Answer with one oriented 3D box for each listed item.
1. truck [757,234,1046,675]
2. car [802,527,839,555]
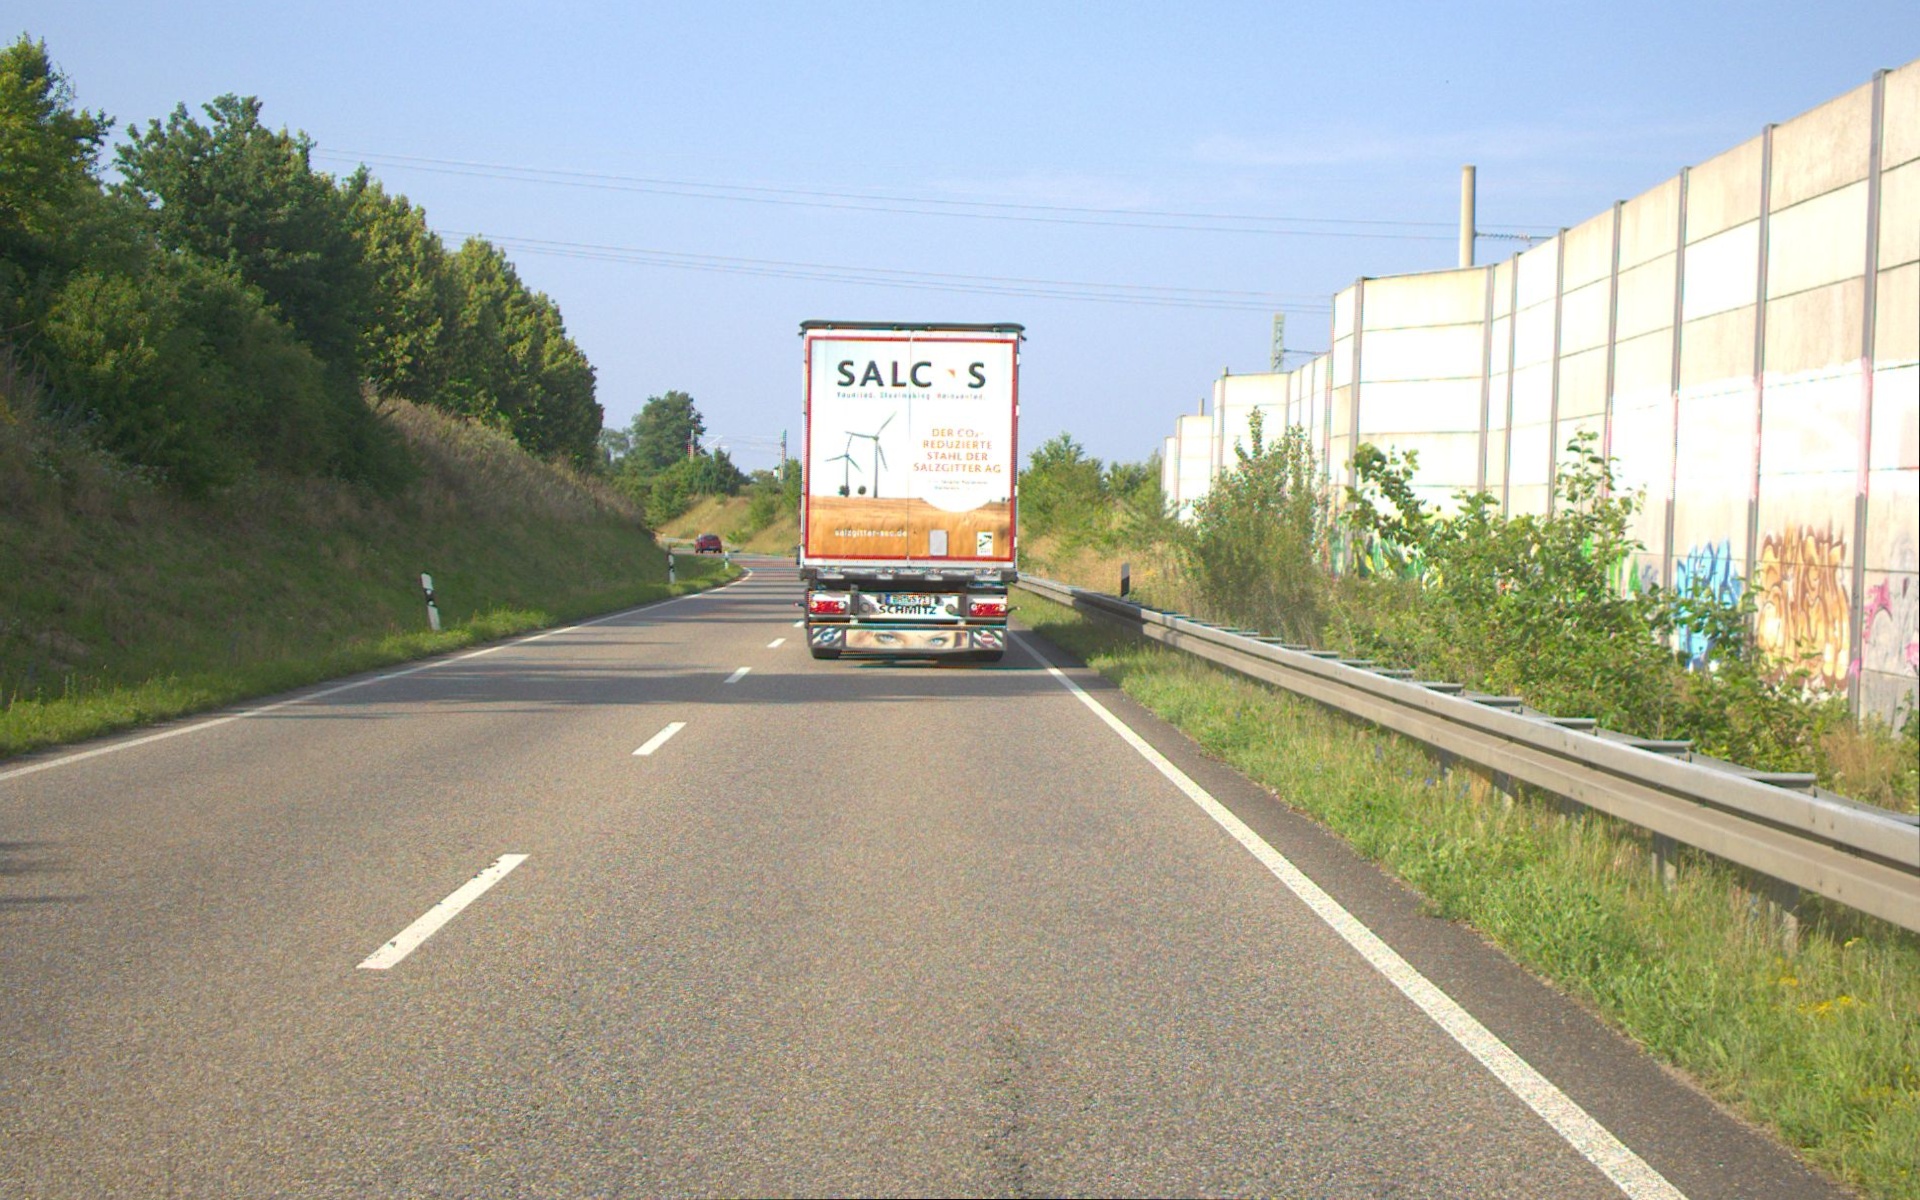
[{"bbox_3d":[-0.936,-1.845,45.819,3.290,5.072,12.039,1,2,-3],"label":"truck"},{"bbox_3d":[-8.260,-3.507,203.965,2.046,1.576,4.360,1,1,-1],"label":"car"}]
